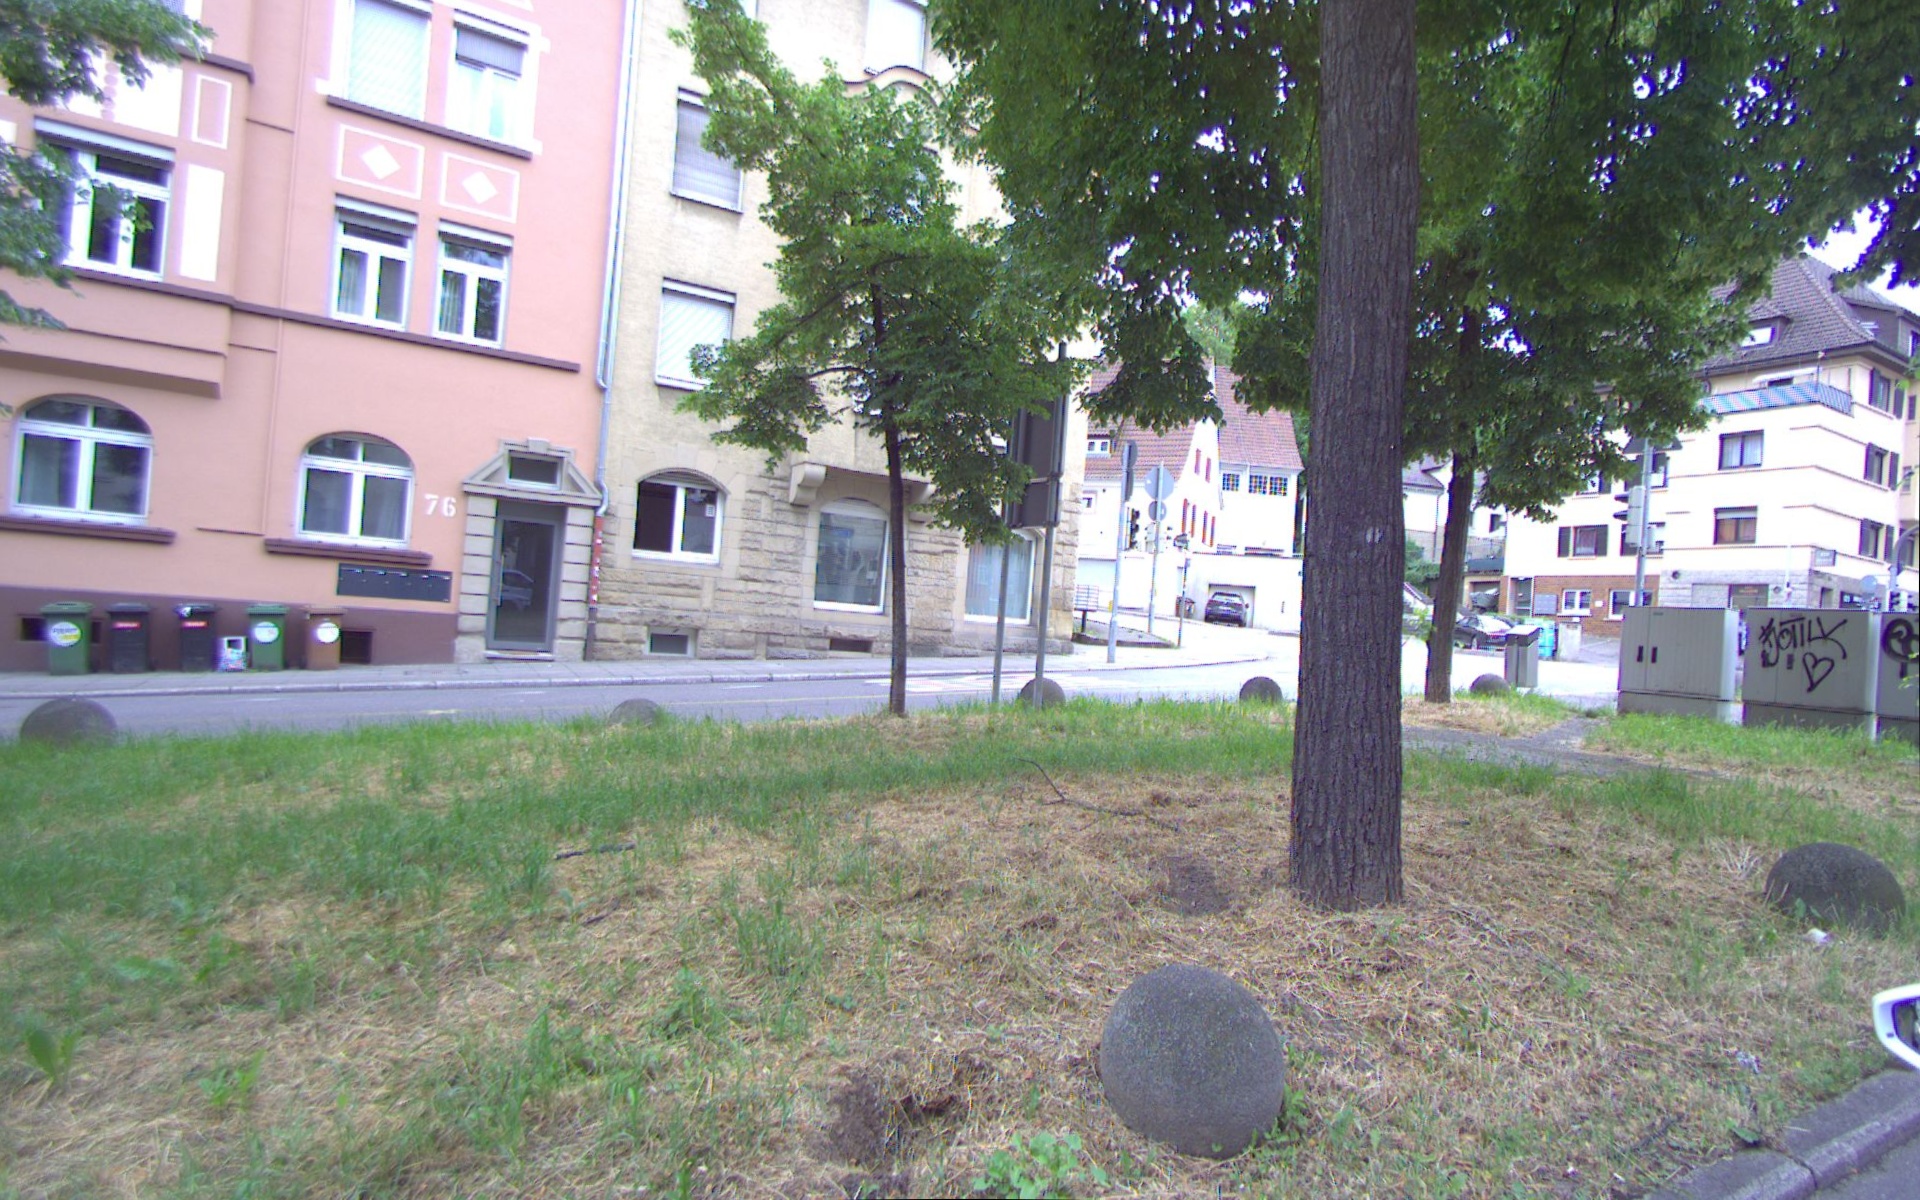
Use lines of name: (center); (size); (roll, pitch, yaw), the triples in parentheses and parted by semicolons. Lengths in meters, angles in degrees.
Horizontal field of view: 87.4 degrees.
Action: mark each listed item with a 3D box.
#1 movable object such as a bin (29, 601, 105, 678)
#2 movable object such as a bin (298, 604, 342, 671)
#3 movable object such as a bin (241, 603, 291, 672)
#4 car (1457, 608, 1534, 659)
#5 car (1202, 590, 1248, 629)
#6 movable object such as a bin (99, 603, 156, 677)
movable object such as a bin: (-11.634, 0.507, 13.106); (0.611, 0.961, 0.613); (2, 0, -31)
movable object such as a bin: (-9.287, 0.539, 14.567); (0.510, 0.934, 0.752); (2, 0, -34)
movable object such as a bin: (-9.827, 0.521, 14.234); (0.554, 0.934, 0.649); (2, 0, -34)
car: (21.862, 1.329, 41.166); (1.832, 1.619, 3.519); (2, 6, 13)
car: (11.765, 0.375, 44.801); (1.638, 1.424, 3.058); (7, 3, 11)
movable object such as a bin: (-11.162, 0.524, 13.479); (0.527, 0.958, 0.576); (2, 0, -36)
